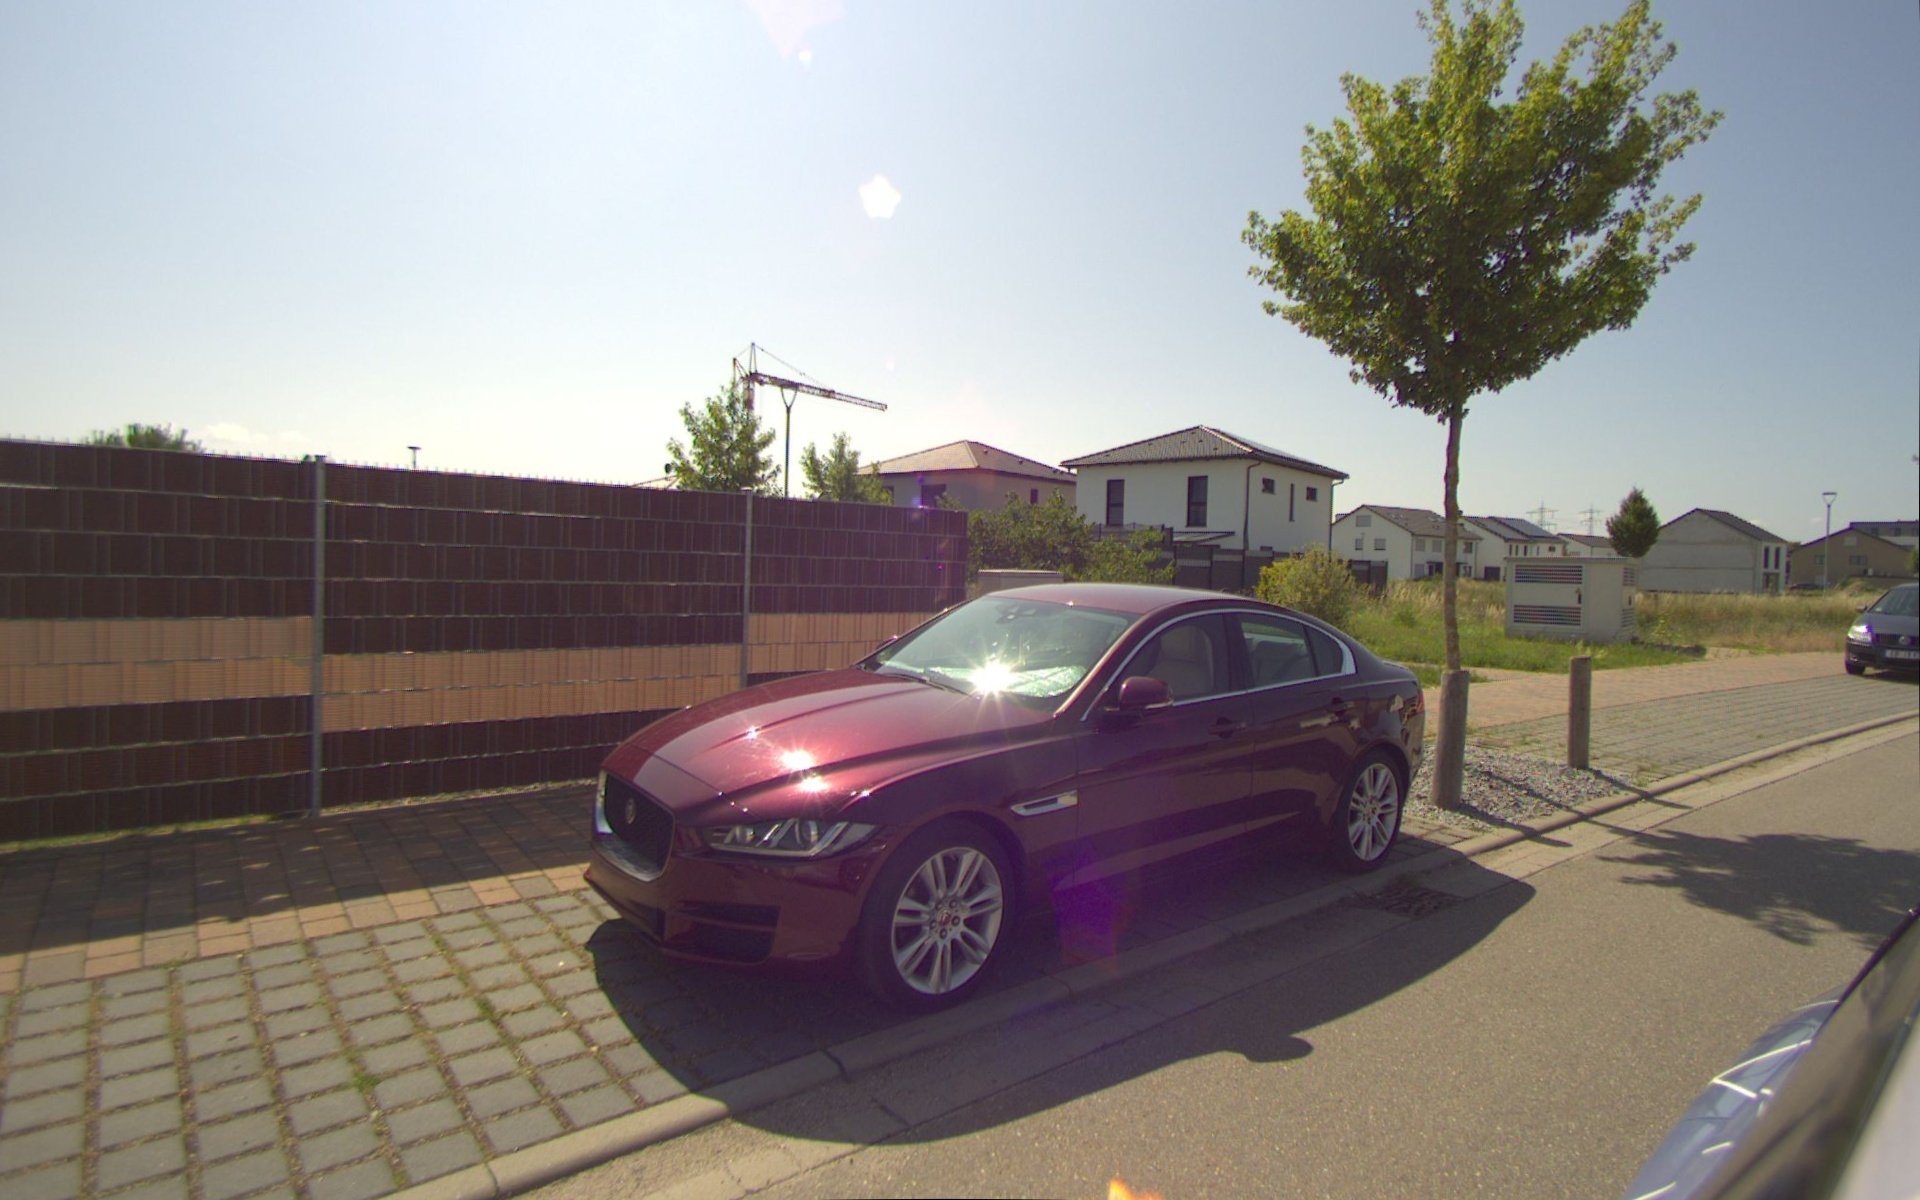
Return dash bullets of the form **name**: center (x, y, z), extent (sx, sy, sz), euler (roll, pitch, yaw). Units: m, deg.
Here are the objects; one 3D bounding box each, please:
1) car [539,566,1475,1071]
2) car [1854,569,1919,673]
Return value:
- **car**: center (0.546, 0.578, 4.925), extent (4.492, 1.380, 1.759), euler (0, 3, -39)
- **car**: center (15.638, 0.332, 15.864), extent (3.606, 1.492, 1.604), euler (0, 4, -36)
